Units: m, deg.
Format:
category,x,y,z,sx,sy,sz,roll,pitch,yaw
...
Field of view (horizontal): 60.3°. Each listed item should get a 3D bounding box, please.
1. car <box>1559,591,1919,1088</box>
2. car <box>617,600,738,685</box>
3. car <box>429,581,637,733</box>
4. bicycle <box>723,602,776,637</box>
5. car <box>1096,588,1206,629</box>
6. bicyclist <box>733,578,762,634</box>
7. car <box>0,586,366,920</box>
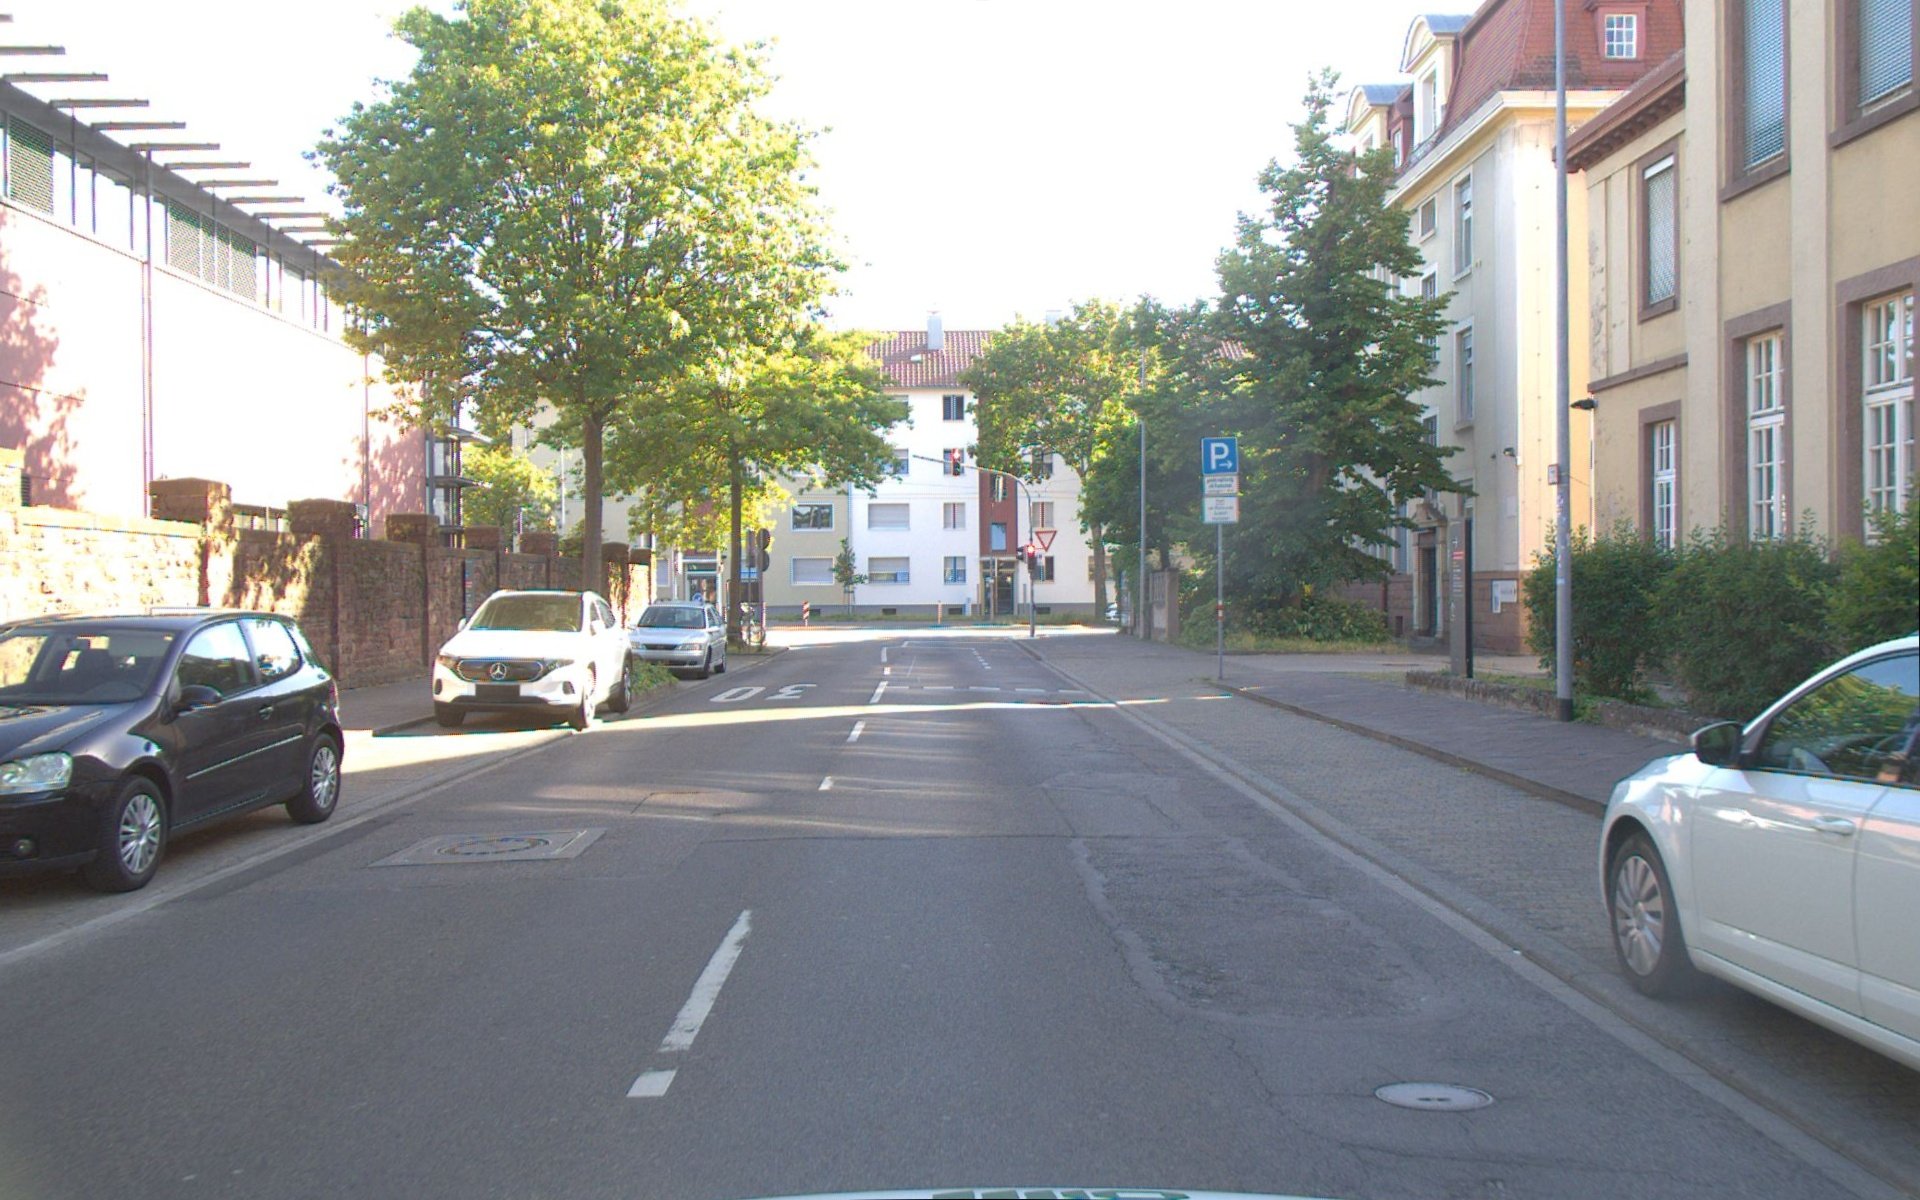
category,x,y,z,sx,sy,sz,roll,pitch,yaw
car,3.524,0.655,4.832,1.795,1.346,4.494,-1,0,-2
car,-5.508,0.789,32.720,1.691,1.501,4.477,1,0,-1
car,-5.305,0.639,21.082,1.685,1.713,4.349,0,0,-2
bicycle,-6.719,0.620,52.858,1.659,1.099,0.349,0,0,-22
car,8.635,0.364,74.838,4.582,1.770,1.993,0,0,-14
bicyclist,-6.789,0.196,52.799,0.776,1.788,0.608,0,0,-24
car,-5.222,0.734,10.085,1.701,1.620,4.107,0,0,0
